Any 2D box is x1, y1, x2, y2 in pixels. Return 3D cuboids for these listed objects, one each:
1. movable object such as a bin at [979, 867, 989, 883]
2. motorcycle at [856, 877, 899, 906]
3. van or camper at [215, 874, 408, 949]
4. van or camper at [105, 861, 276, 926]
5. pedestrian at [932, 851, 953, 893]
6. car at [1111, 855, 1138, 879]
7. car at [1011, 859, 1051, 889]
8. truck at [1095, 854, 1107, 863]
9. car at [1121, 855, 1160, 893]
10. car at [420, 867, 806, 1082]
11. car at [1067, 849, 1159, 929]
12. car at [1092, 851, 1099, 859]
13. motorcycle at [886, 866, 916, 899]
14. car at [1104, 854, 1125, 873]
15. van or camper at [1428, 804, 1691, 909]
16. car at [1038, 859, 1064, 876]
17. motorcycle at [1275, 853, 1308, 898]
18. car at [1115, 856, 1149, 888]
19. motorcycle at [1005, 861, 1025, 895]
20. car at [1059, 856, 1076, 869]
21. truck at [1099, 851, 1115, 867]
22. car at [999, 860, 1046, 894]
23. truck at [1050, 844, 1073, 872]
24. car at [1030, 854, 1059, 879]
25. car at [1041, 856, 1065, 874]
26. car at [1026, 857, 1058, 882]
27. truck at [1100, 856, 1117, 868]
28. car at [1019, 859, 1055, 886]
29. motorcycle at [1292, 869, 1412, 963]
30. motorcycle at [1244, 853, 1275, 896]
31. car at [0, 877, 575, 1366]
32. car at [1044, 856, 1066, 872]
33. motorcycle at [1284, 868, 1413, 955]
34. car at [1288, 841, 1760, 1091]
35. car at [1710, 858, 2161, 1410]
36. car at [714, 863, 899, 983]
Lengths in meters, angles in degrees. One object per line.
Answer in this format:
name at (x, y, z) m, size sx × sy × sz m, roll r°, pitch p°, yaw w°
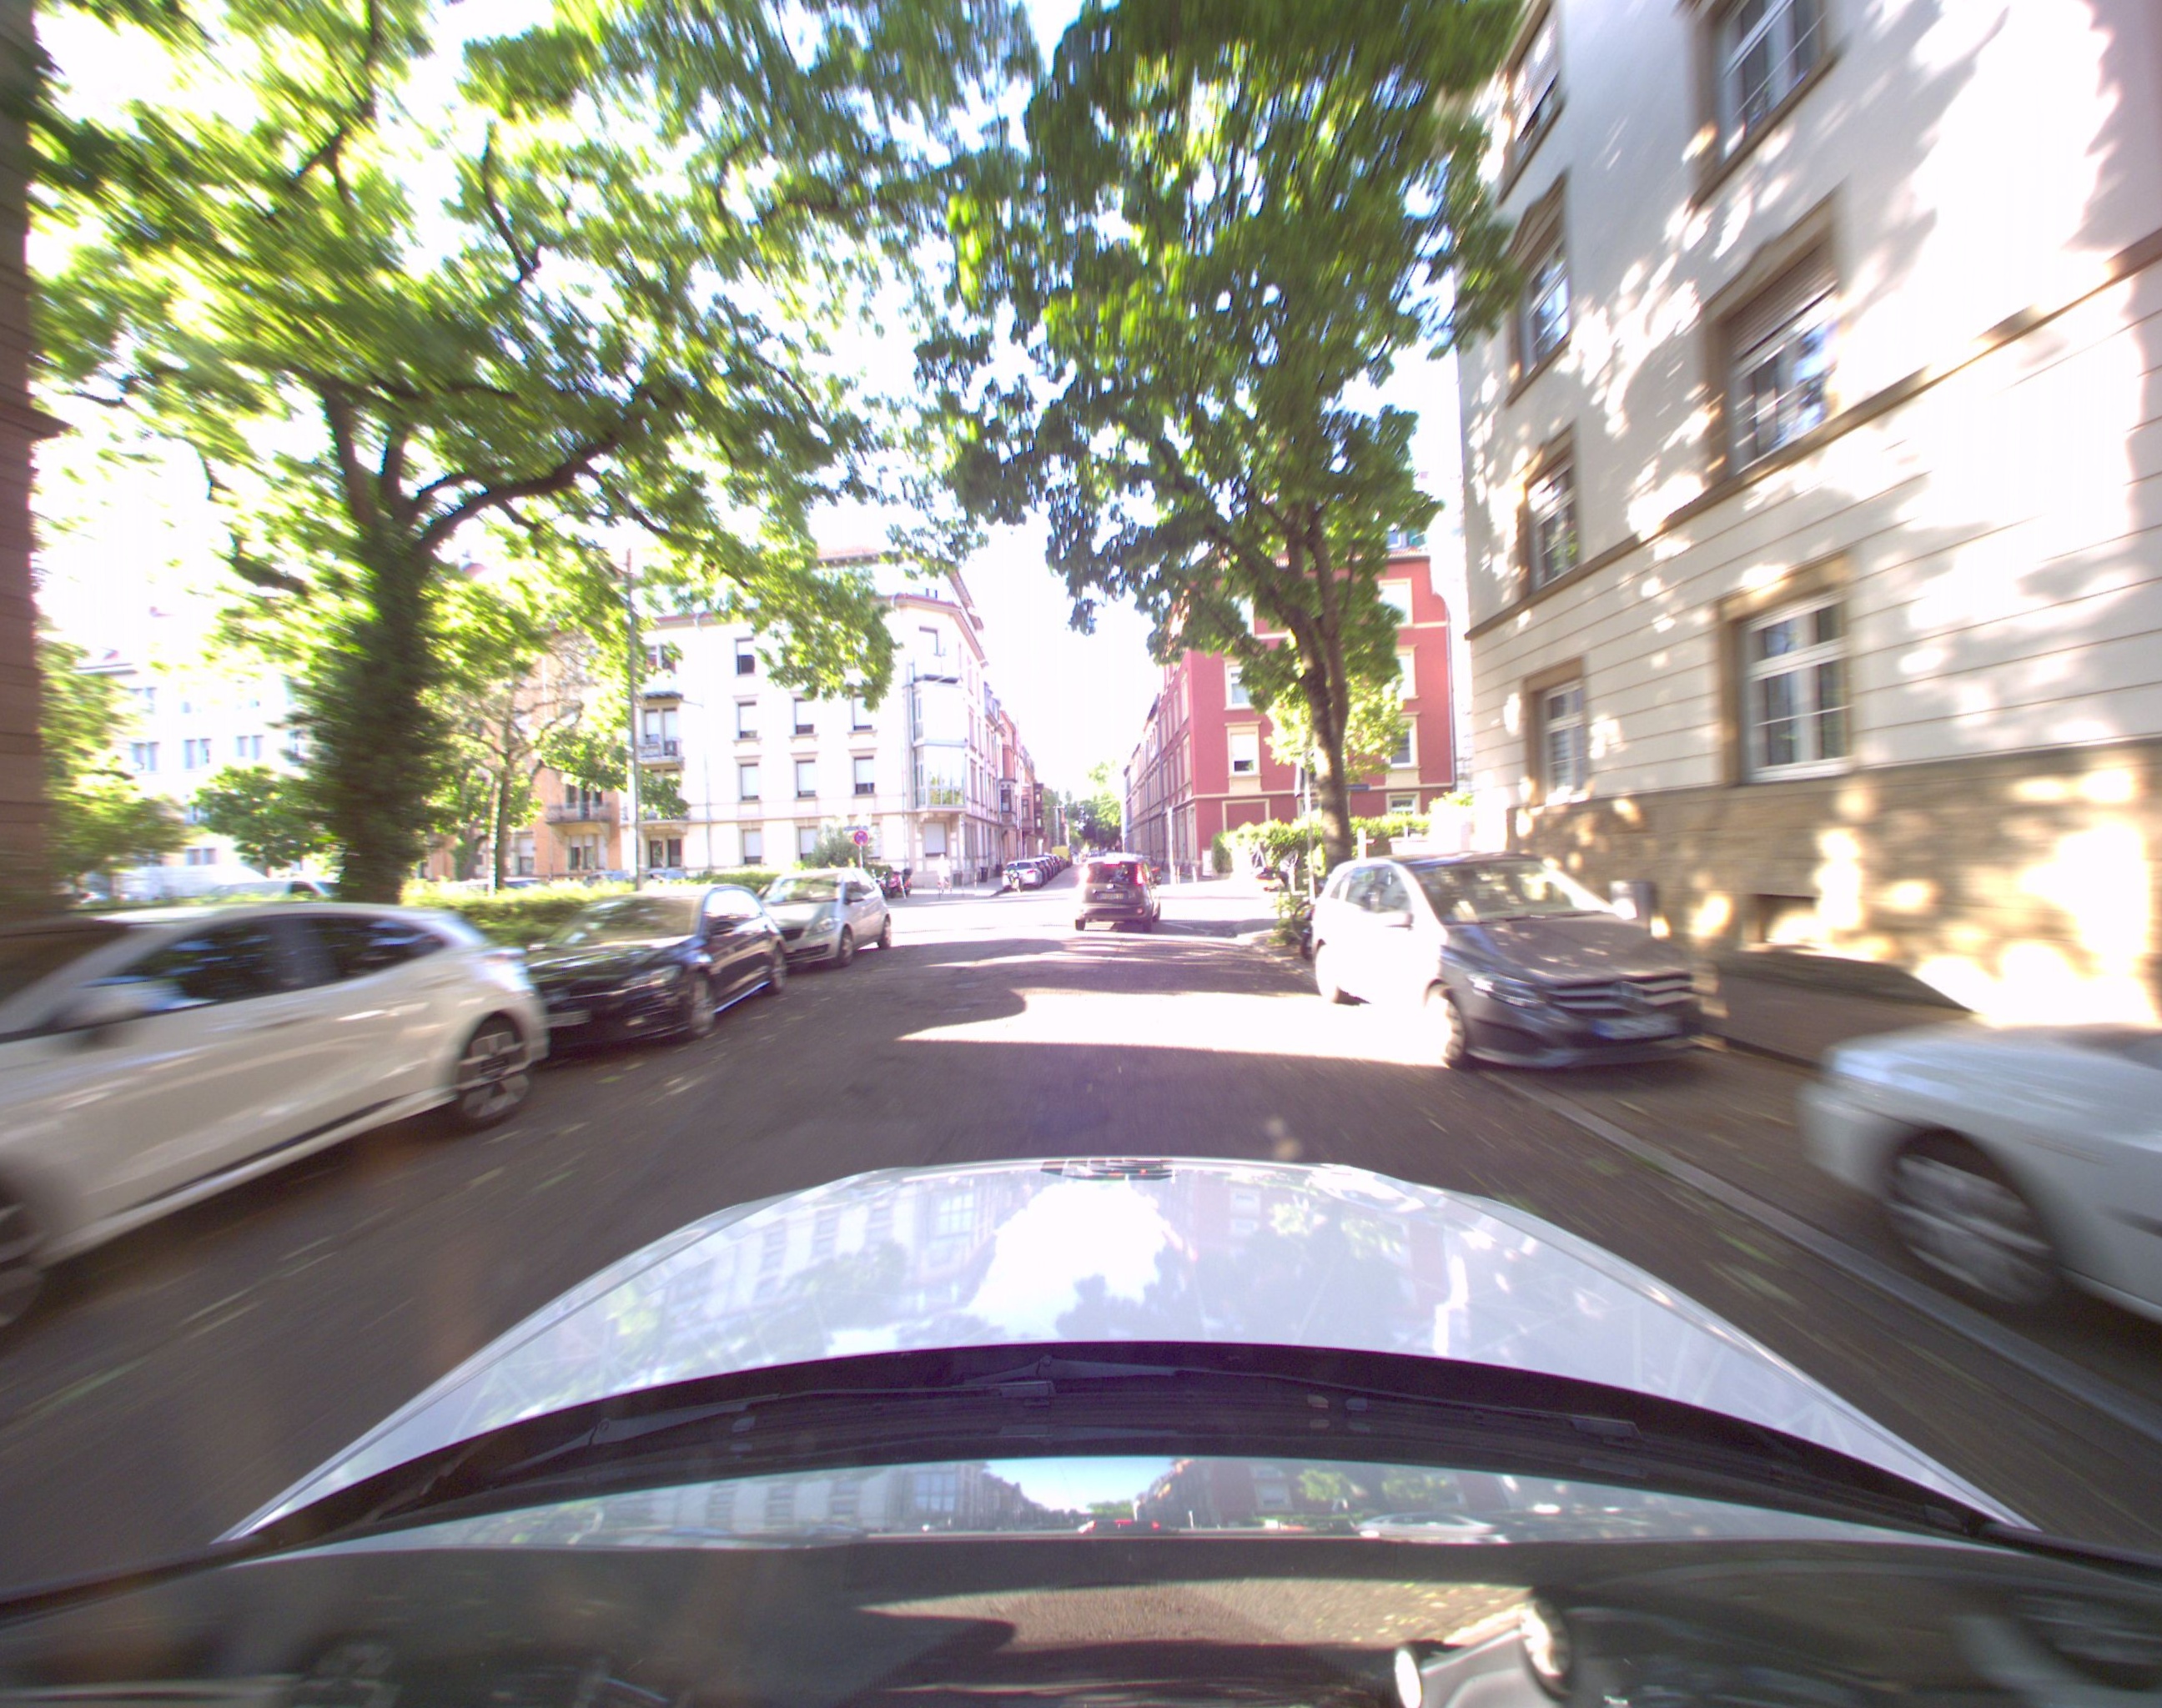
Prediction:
movable object such as a bin at (-5.783, 1.244, 48.456) m, size 0.510 × 0.952 × 0.500 m, roll -2°, pitch 0°, yaw -2°
motorcycle at (-7.909, 1.454, 31.756) m, size 0.683 × 0.985 × 1.831 m, roll 2°, pitch 1°, yaw 21°
van or camper at (-23.265, 1.702, 24.701) m, size 4.353 × 2.013 × 1.775 m, roll -2°, pitch 0°, yaw 6°
van or camper at (-40.398, 1.713, 37.174) m, size 1.983 × 2.636 × 4.933 m, roll -2°, pitch 0°, yaw 7°
pedestrian at (-6.142, 0.799, 36.115) m, size 0.718 × 1.839 × 0.628 m, roll -1°, pitch 0°, yaw 11°
car at (2.817, 0.842, 53.601) m, size 1.657 × 1.505 × 3.758 m, roll -1°, pitch 0°, yaw 2°
car at (-2.743, 1.113, 45.653) m, size 1.771 × 1.413 × 3.926 m, roll -5°, pitch 0°, yaw 2°
truck at (3.501, 0.733, 141.079) m, size 1.987 × 1.456 × 4.000 m, roll -2°, pitch 0°, yaw 0°
car at (2.731, 0.882, 38.105) m, size 1.657 × 1.669 × 3.758 m, roll -1°, pitch 0°, yaw 2°
car at (-4.489, 0.993, 8.762) m, size 1.744 × 1.474 × 4.456 m, roll -6°, pitch 0°, yaw -5°
car at (0.787, 0.694, 17.731) m, size 1.623 × 1.550 × 3.272 m, roll -1°, pitch 0°, yaw 8°
car at (2.886, 0.234, 160.756) m, size 1.362 × 1.618 × 3.414 m, roll -2°, pitch 0°, yaw 1°
motorcycle at (-7.529, 1.176, 34.110) m, size 0.514 × 1.294 × 1.618 m, roll -1°, pitch 0°, yaw 14°
car at (2.778, 0.791, 67.278) m, size 1.657 × 1.505 × 3.758 m, roll -1°, pitch 0°, yaw 2°
van or camper at (12.358, 0.050, 21.450) m, size 5.553 × 2.445 × 2.151 m, roll -2°, pitch 2°, yaw 10°
car at (-2.613, 1.202, 71.419) m, size 1.954 × 1.224 × 3.926 m, roll -5°, pitch 0°, yaw 2°
motorcycle at (7.450, 0.739, 28.926) m, size 0.821 × 1.404 × 2.563 m, roll -2°, pitch 2°, yaw 9°
car at (2.622, 0.907, 42.599) m, size 1.657 × 1.505 × 3.758 m, roll -1°, pitch 0°, yaw 2°
motorcycle at (-3.042, 1.081, 37.269) m, size 0.696 × 1.460 × 1.745 m, roll -3°, pitch 0°, yaw -9°
car at (-1.799, 1.100, 108.448) m, size 1.954 × 1.479 × 3.926 m, roll -5°, pitch 0°, yaw 2°
truck at (3.385, 0.680, 106.885) m, size 1.987 × 1.992 × 4.000 m, roll -2°, pitch 0°, yaw 0°
car at (-2.862, 1.102, 40.566) m, size 1.790 × 1.431 × 3.926 m, roll -5°, pitch 0°, yaw 2°
truck at (-2.210, 0.427, 93.186) m, size 2.063 × 2.925 × 5.069 m, roll -6°, pitch 0°, yaw 1°
car at (-2.767, 0.918, 62.131) m, size 1.768 × 1.698 × 3.926 m, roll -5°, pitch 0°, yaw 2°
car at (-2.705, 1.082, 79.073) m, size 1.954 × 1.479 × 3.926 m, roll -5°, pitch 0°, yaw 2°
car at (-2.682, 1.036, 56.973) m, size 1.822 × 1.479 × 3.926 m, roll -5°, pitch 0°, yaw 2°
truck at (3.375, 0.997, 101.503) m, size 1.987 × 1.456 × 4.000 m, roll -2°, pitch 0°, yaw 0°
car at (-2.780, 1.137, 51.869) m, size 1.818 × 1.467 × 3.926 m, roll -5°, pitch 0°, yaw 2°
motorcycle at (3.965, 0.893, 11.991) m, size 1.498 × 1.266 × 0.619 m, roll -3°, pitch 0°, yaw -1°
motorcycle at (6.476, 0.721, 29.576) m, size 1.013 × 1.404 × 2.200 m, roll -2°, pitch 2°, yaw 13°
car at (-4.600, 1.024, 3.813) m, size 1.820 × 1.554 × 4.130 m, roll -6°, pitch 0°, yaw -2°
car at (-2.681, 1.065, 86.083) m, size 1.954 × 1.479 × 3.926 m, roll -5°, pitch 0°, yaw 2°
motorcycle at (4.170, 0.902, 12.801) m, size 1.837 × 1.266 × 0.507 m, roll -3°, pitch 0°, yaw 14°
car at (3.445, 0.734, 7.484) m, size 1.784 × 1.551 × 4.406 m, roll -2°, pitch 0°, yaw -2°
car at (3.825, 0.785, 1.859) m, size 1.607 × 1.478 × 3.865 m, roll -2°, pitch 0°, yaw -4°
car at (-4.445, 1.028, 13.864) m, size 1.691 × 1.550 × 3.918 m, roll -5°, pitch 0°, yaw 0°
